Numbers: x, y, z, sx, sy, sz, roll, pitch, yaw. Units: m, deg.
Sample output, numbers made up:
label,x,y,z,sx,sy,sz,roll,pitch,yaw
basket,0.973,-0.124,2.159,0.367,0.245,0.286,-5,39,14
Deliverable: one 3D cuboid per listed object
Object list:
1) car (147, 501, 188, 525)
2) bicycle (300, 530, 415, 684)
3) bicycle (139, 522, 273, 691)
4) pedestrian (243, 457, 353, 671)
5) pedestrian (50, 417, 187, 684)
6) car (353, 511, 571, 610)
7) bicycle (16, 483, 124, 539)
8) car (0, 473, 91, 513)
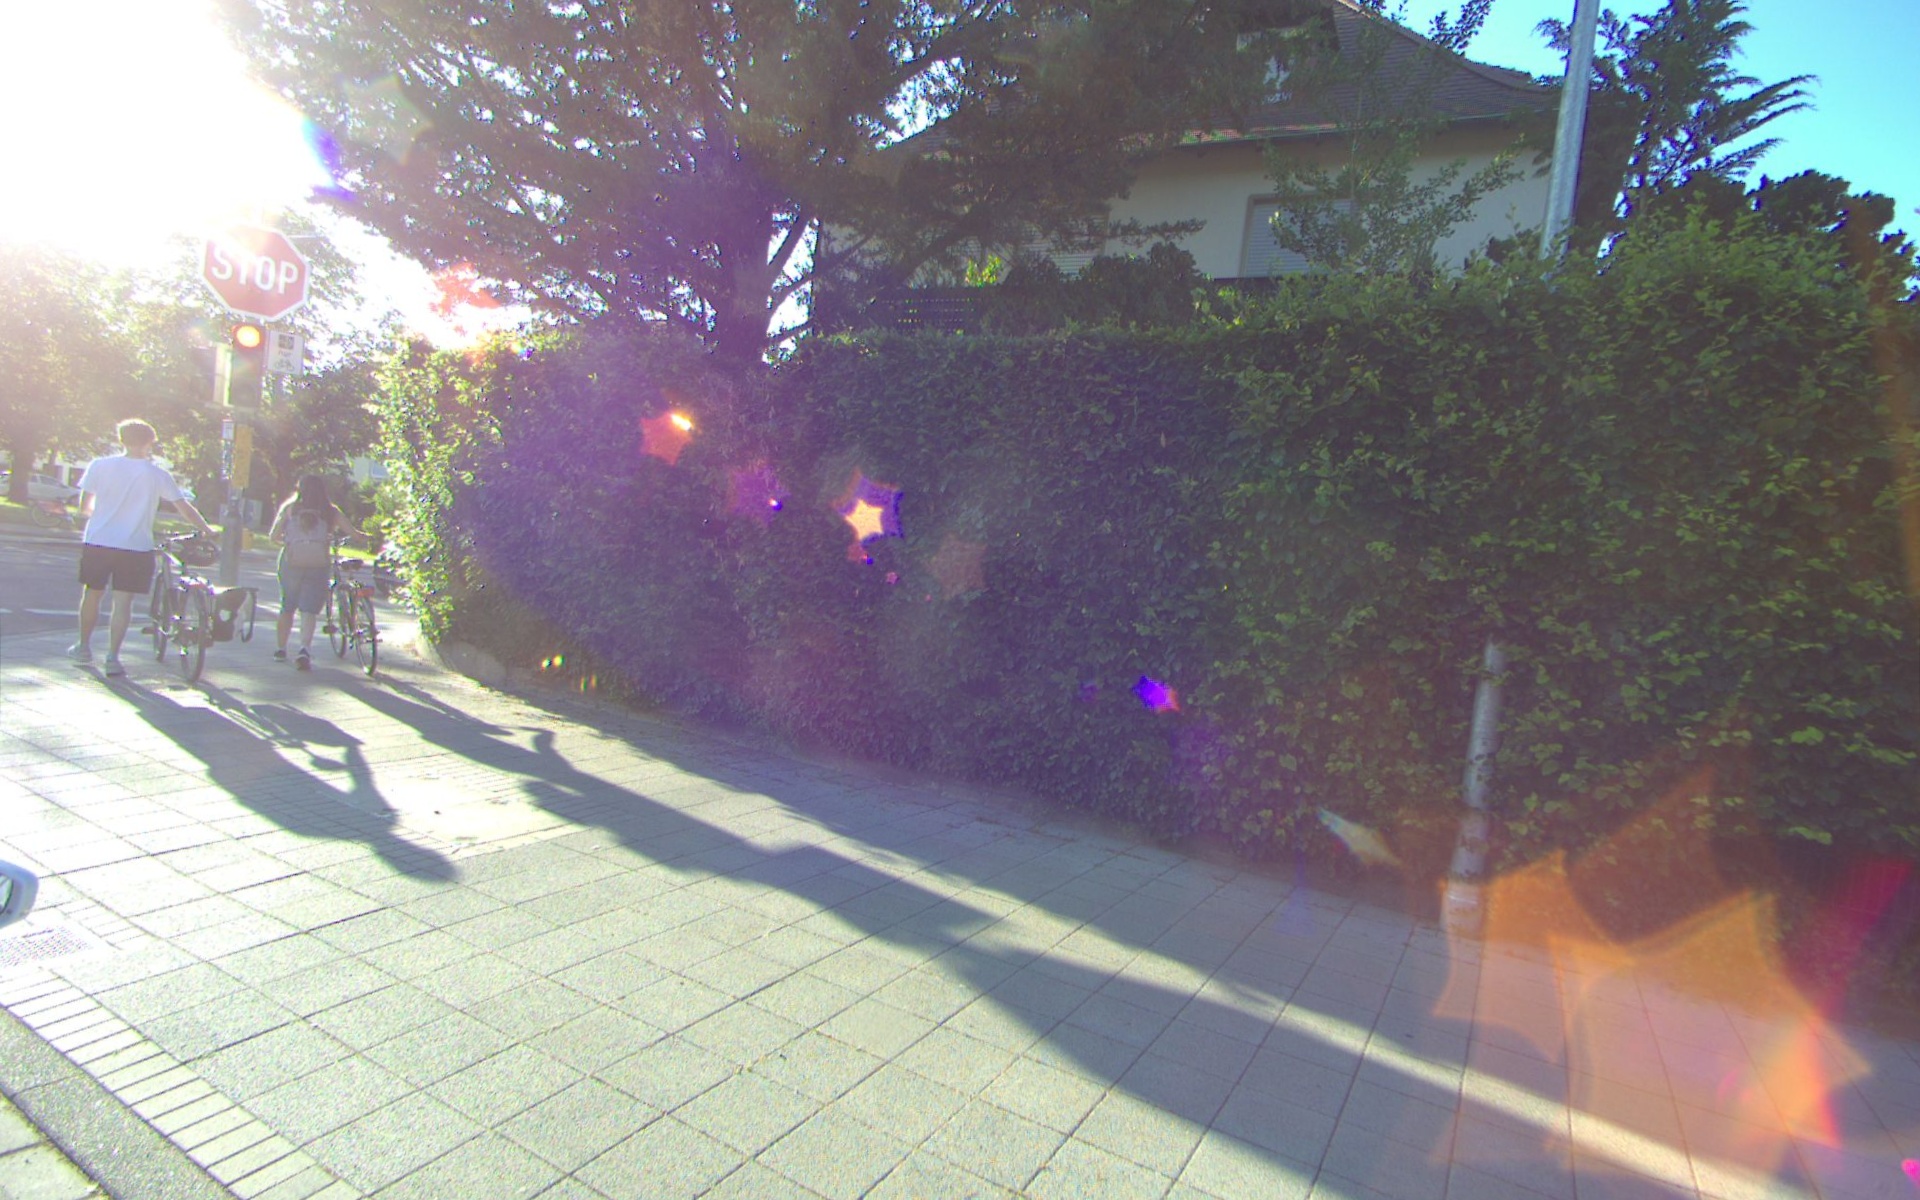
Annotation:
label,x,y,z,sx,sy,sz,roll,pitch,yaw
car,-55.198,-6.041,70.133,1.651,1.435,3.514,7,0,-30
bicycle,-5.286,0.033,8.789,0.485,1.158,1.578,3,4,-43
bicycle,-5.964,0.014,7.917,1.765,1.112,0.485,9,5,42
pedestrian,-5.622,-0.304,8.540,0.665,1.732,0.615,2,6,-40
pedestrian,-6.405,-0.376,7.645,0.870,1.891,0.668,9,6,43
car,-9.543,-0.693,19.569,1.582,1.517,3.606,8,1,19
bicycle,-23.252,-2.313,26.323,0.609,1.146,1.956,7,0,32
car,-46.457,-5.391,50.554,1.569,1.445,3.854,7,0,26
